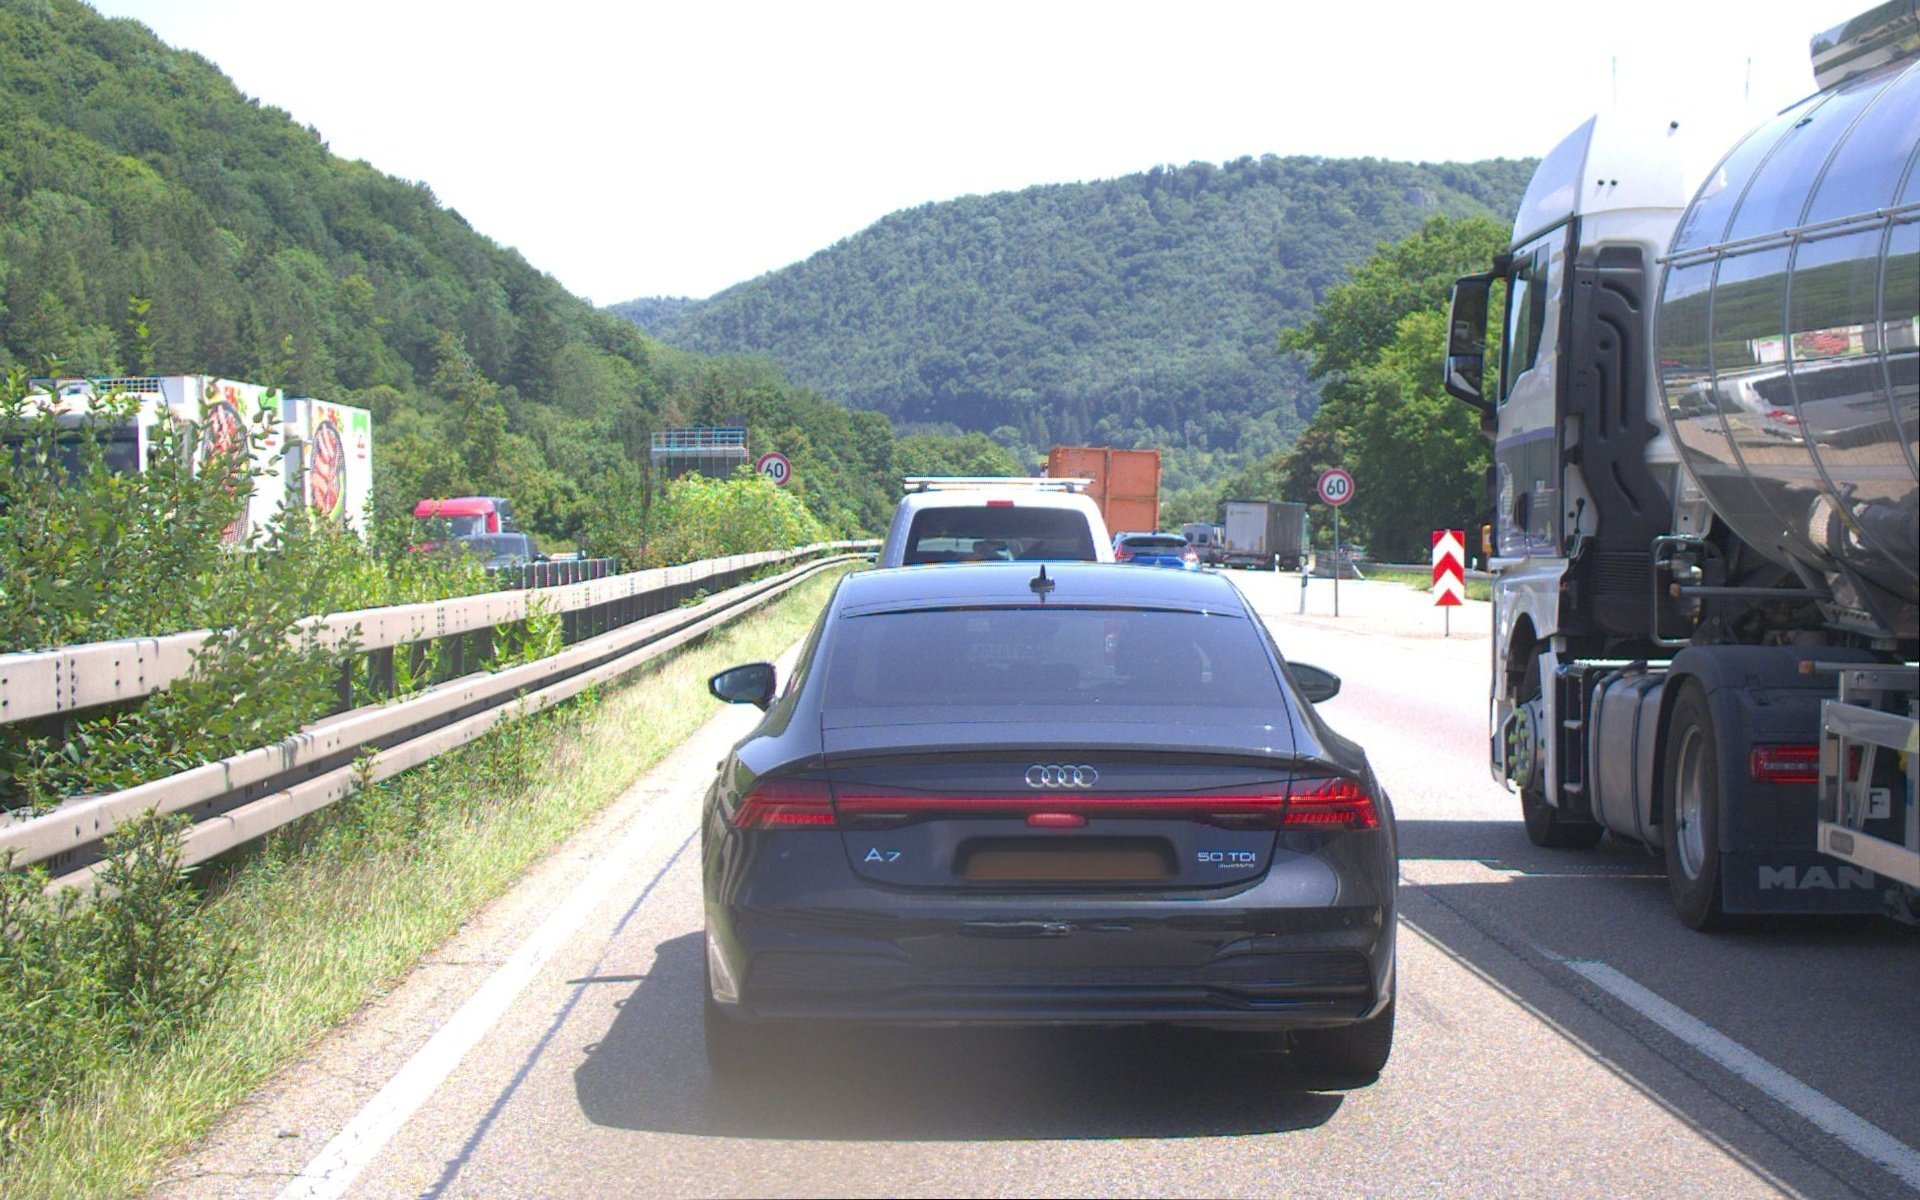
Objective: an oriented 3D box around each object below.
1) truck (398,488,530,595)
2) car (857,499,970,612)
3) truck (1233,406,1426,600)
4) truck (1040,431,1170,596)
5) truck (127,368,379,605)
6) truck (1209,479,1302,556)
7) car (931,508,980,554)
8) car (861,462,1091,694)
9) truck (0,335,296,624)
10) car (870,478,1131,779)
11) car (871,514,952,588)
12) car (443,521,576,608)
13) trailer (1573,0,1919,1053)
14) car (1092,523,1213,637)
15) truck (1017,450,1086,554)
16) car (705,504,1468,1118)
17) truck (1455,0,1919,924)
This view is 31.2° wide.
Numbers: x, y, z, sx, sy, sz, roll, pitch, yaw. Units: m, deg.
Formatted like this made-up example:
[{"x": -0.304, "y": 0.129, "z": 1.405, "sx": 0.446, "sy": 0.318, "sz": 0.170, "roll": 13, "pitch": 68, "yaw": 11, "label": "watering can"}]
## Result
[{"x": -12.450, "y": -1.500, "z": 86.805, "sx": 2.296, "sy": 2.579, "sz": 7.968, "roll": 1, "pitch": 1, "yaw": -1, "label": "truck"}, {"x": -0.868, "y": -0.840, "z": 63.549, "sx": 1.993, "sy": 2.007, "sz": 4.000, "roll": 0, "pitch": 1, "yaw": -1, "label": "car"}, {"x": 8.244, "y": -2.185, "z": 78.725, "sx": 2.817, "sy": 3.989, "sz": 14.956, "roll": 1, "pitch": 1, "yaw": 0, "label": "truck"}, {"x": 3.691, "y": -2.268, "z": 90.993, "sx": 2.817, "sy": 3.989, "sz": 14.956, "roll": 1, "pitch": 1, "yaw": 0, "label": "truck"}, {"x": -12.684, "y": -2.009, "z": 62.480, "sx": 2.869, "sy": 3.967, "sz": 9.033, "roll": 1, "pitch": 1, "yaw": -1, "label": "truck"}, {"x": 17.735, "y": -4.878, "z": 205.240, "sx": 3.795, "sy": 4.399, "sz": 14.948, "roll": 0, "pitch": 1, "yaw": 12, "label": "truck"}, {"x": -0.141, "y": -2.471, "z": 122.567, "sx": 1.712, "sy": 1.613, "sz": 4.000, "roll": 0, "pitch": 1, "yaw": 1, "label": "car"}, {"x": 0.114, "y": -0.234, "z": 32.045, "sx": 1.993, "sy": 2.007, "sz": 4.000, "roll": 1, "pitch": 1, "yaw": -1, "label": "car"}, {"x": -12.543, "y": -1.790, "z": 52.834, "sx": 2.869, "sy": 3.992, "sz": 10.172, "roll": 1, "pitch": 1, "yaw": -1, "label": "truck"}, {"x": 0.223, "y": 0.131, "z": 23.037, "sx": 1.576, "sy": 1.827, "sz": 4.000, "roll": 1, "pitch": 1, "yaw": -1, "label": "car"}, {"x": -1.076, "y": -1.113, "z": 77.276, "sx": 1.712, "sy": 1.613, "sz": 4.000, "roll": 0, "pitch": 1, "yaw": 1, "label": "car"}, {"x": -8.879, "y": -0.733, "z": 68.116, "sx": 1.993, "sy": 1.635, "sz": 5.032, "roll": 1, "pitch": 1, "yaw": 0, "label": "car"}, {"x": 4.068, "y": -0.525, "z": 8.960, "sx": 2.538, "sy": 3.722, "sz": 11.893, "roll": 1, "pitch": 1, "yaw": -1, "label": "trailer"}, {"x": 3.461, "y": -0.393, "z": 62.386, "sx": 1.993, "sy": 1.996, "sz": 4.000, "roll": 0, "pitch": 1, "yaw": 1, "label": "car"}, {"x": 3.149, "y": -3.405, "z": 120.839, "sx": 1.993, "sy": 3.435, "sz": 11.812, "roll": 1, "pitch": 1, "yaw": 0, "label": "truck"}, {"x": 0.180, "y": 0.471, "z": 10.392, "sx": 1.849, "sy": 1.483, "sz": 4.084, "roll": 0, "pitch": 1, "yaw": -4, "label": "car"}, {"x": 3.947, "y": -0.706, "z": 15.572, "sx": 2.511, "sy": 3.745, "sz": 5.246, "roll": 1, "pitch": 1, "yaw": -1, "label": "truck"}]
